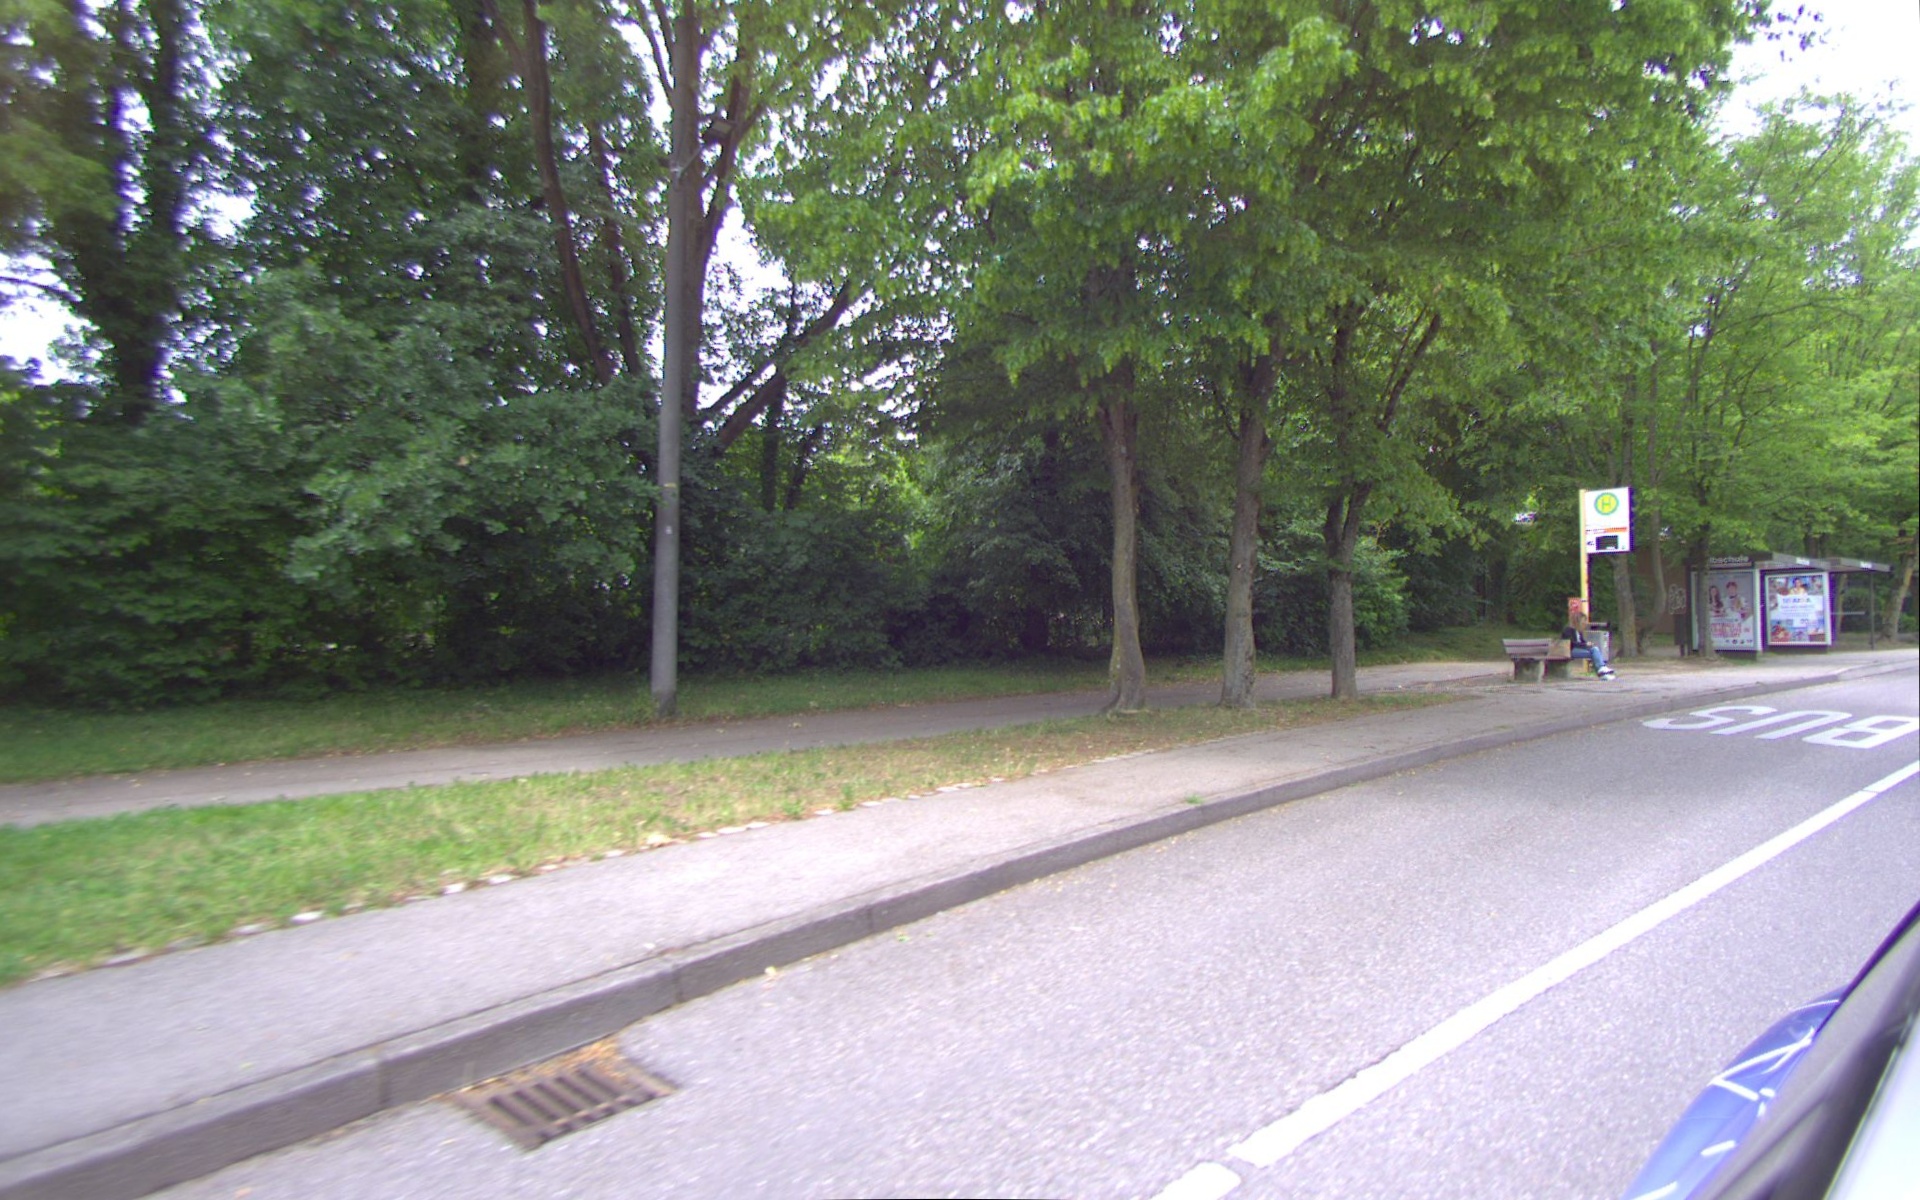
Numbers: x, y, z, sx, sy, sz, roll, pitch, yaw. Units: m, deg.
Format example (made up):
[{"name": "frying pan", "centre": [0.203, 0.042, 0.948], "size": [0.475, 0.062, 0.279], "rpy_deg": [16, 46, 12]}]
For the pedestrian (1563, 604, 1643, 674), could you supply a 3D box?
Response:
[{"name": "pedestrian", "centre": [11.370, 0.669, 17.909], "size": [0.569, 1.197, 1.066], "rpy_deg": [0, -1, -39]}]
